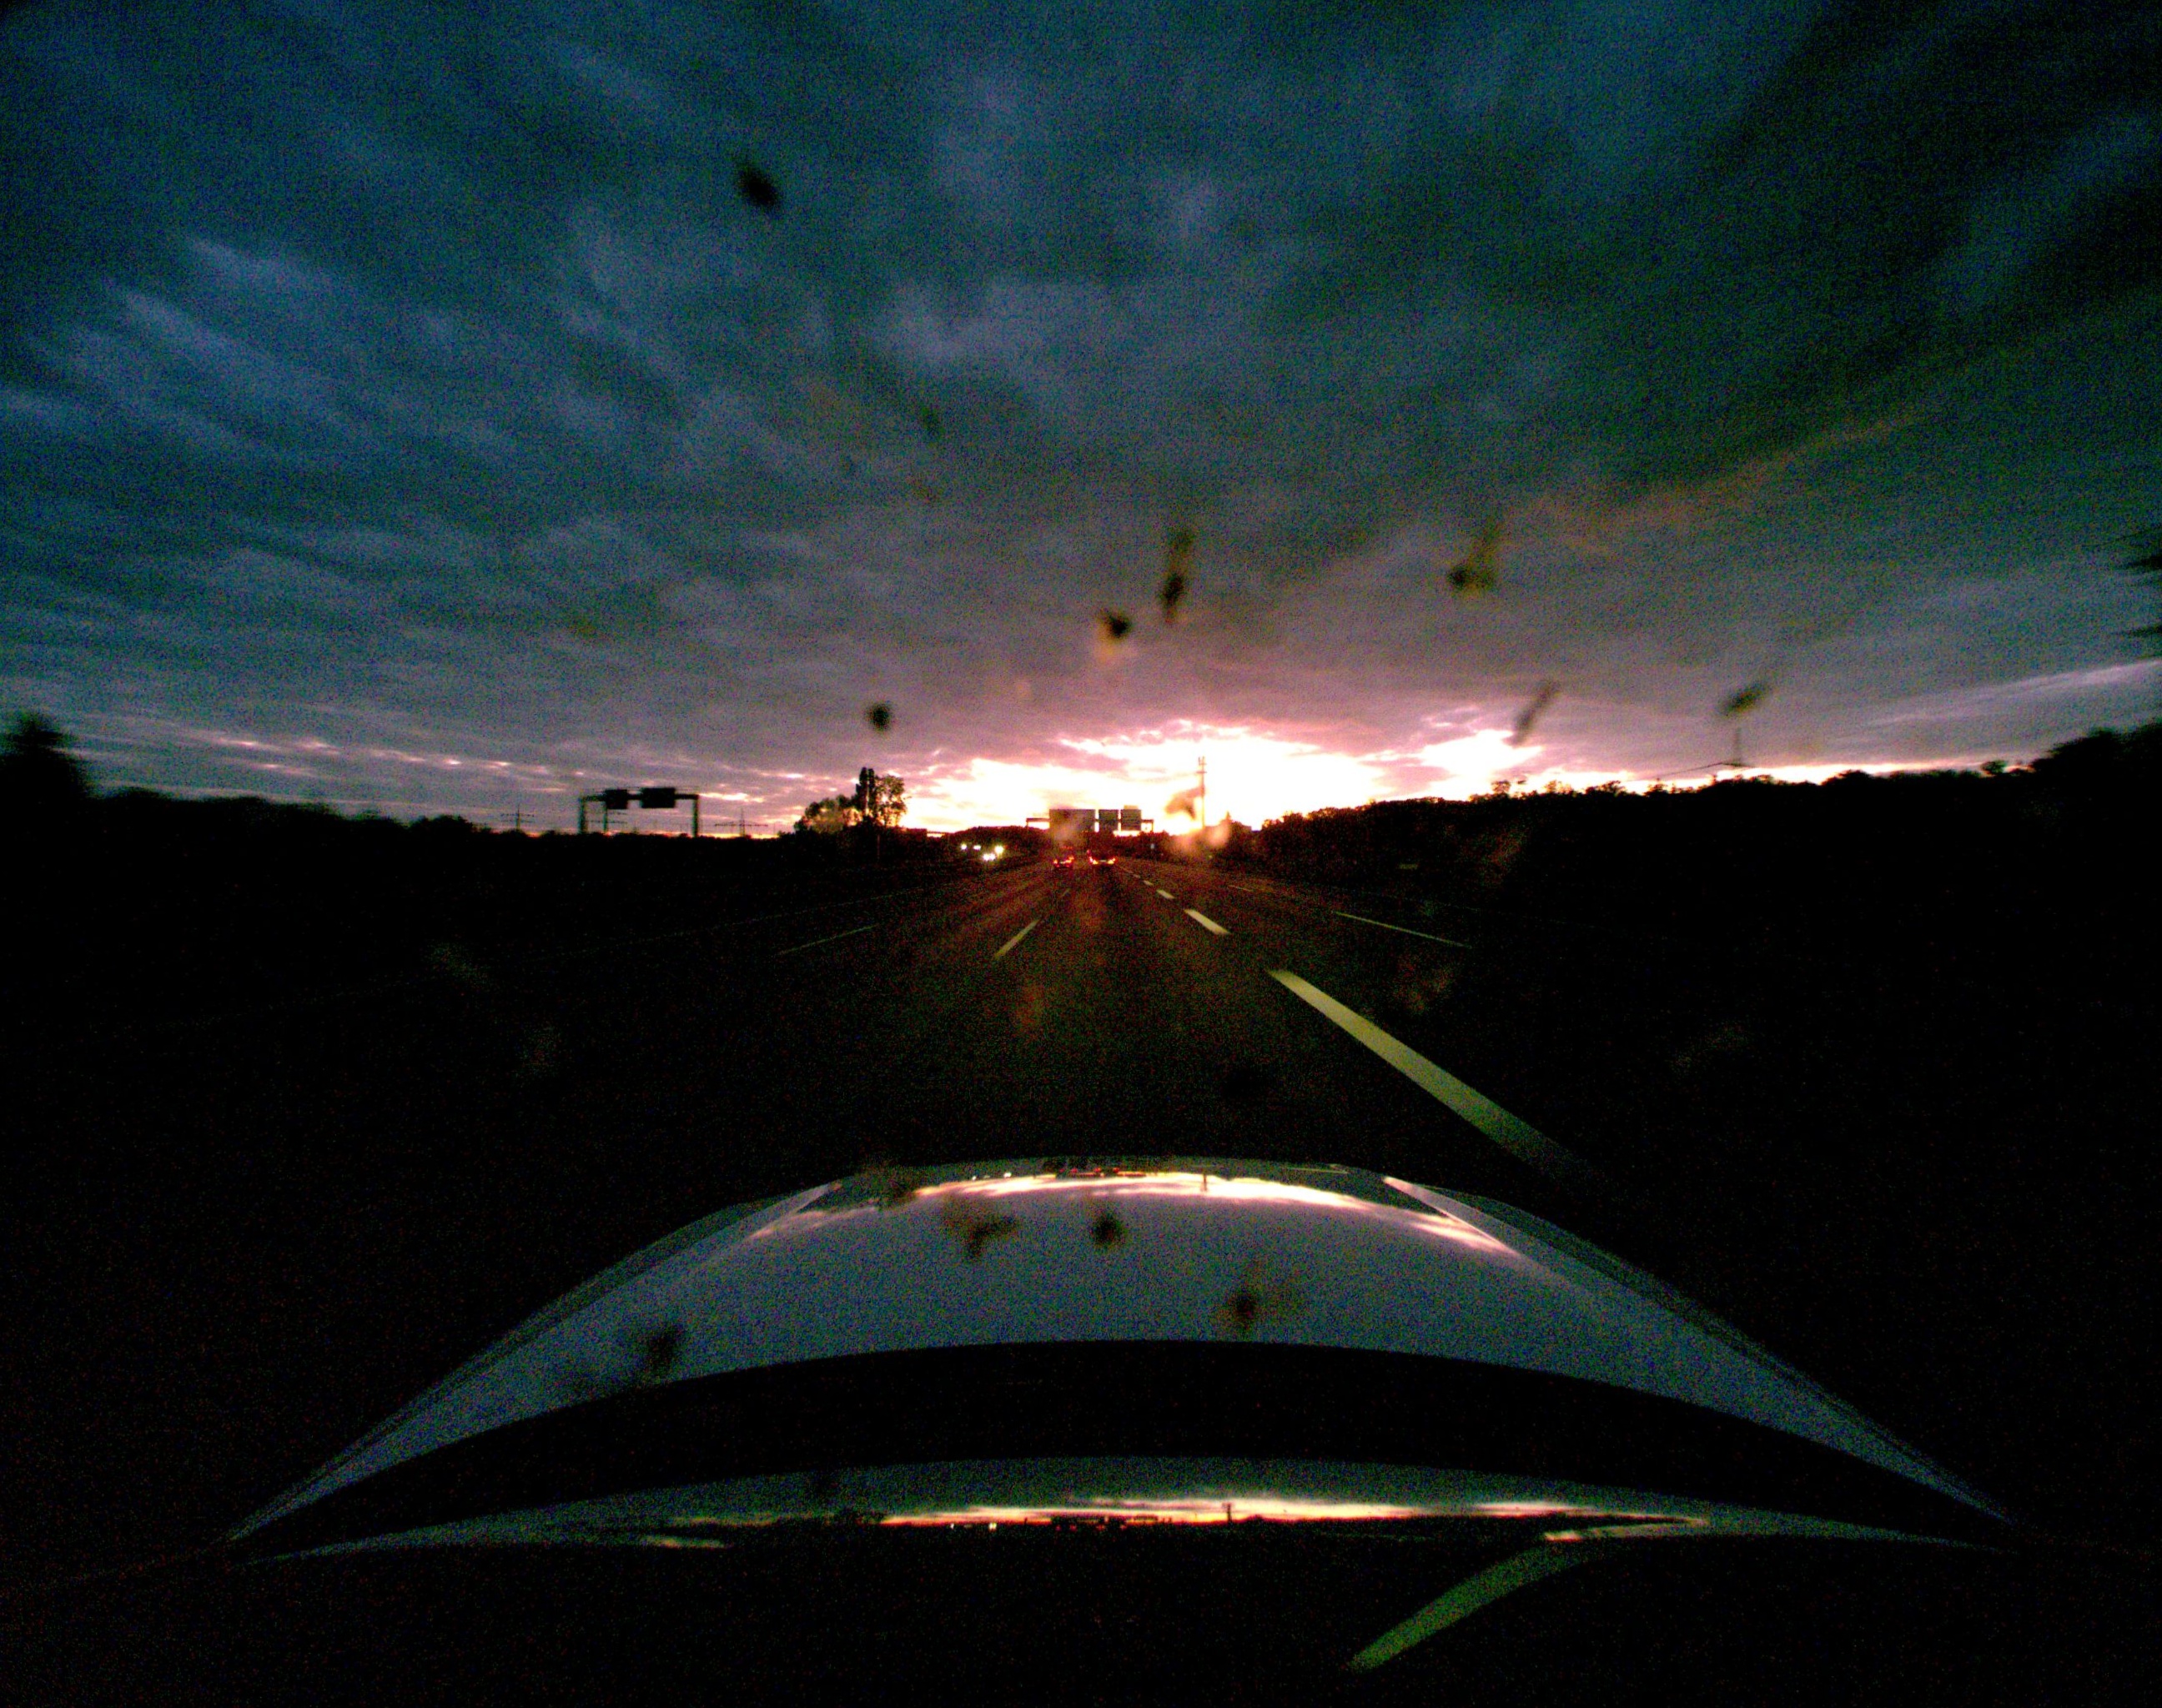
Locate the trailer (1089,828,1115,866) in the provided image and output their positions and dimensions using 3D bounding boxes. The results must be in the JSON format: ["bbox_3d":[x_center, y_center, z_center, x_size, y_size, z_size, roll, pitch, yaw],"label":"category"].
[{"bbox_3d":[2.369,-0.835,94.180,2.713,4.071,8.830,-2,1,0],"label":"trailer"}]

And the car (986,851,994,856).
[{"bbox_3d":[-24.731,-0.060,221.598,1.988,1.404,4.327,-1,0,-1],"label":"car"}]

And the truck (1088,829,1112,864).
[{"bbox_3d":[2.342,-1.012,103.843,2.682,4.071,10.519,-2,1,0],"label":"truck"}]

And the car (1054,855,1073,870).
[{"bbox_3d":[-1.805,0.869,82.185,1.686,1.401,3.403,-2,0,-4],"label":"car"}]

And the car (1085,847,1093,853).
[{"bbox_3d":[2.480,-1.290,243.737,1.990,1.717,3.994,-1,-1,-4],"label":"car"}]

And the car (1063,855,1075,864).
[{"bbox_3d":[-1.842,0.864,124.408,1.683,1.401,3.410,-2,-1,2],"label":"car"}]
